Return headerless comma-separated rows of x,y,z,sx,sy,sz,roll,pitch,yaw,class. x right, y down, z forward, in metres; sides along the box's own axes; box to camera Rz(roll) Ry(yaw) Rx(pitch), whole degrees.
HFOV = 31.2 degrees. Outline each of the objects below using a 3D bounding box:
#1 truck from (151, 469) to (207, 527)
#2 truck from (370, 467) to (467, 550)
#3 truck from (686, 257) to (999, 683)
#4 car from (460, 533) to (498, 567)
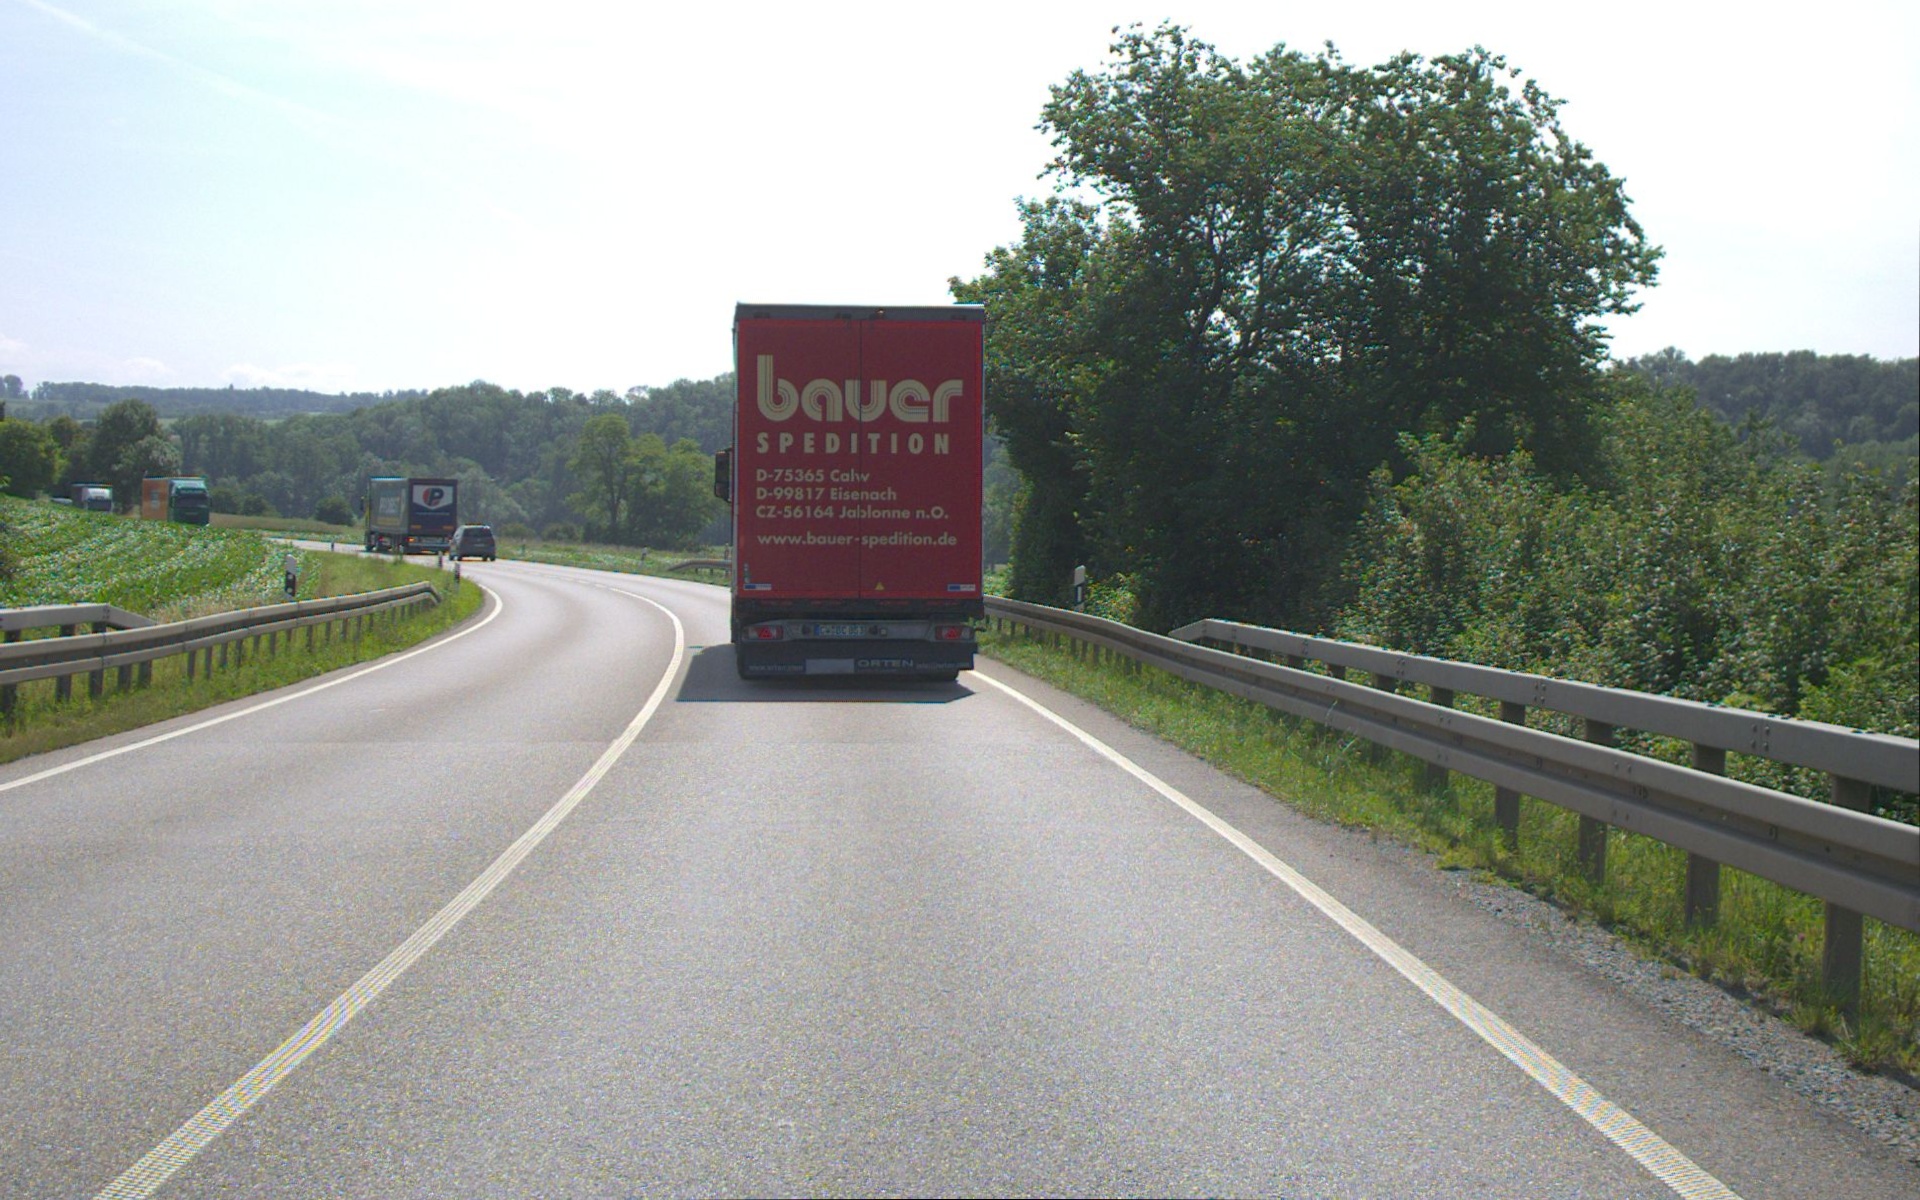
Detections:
-56.194,-7.352,247.063,2.770,3.984,17.034,1,1,-17,truck
-29.196,-4.843,184.777,3.639,4.277,11.989,0,1,-16,truck
-1.255,-1.381,38.645,3.094,4.248,8.315,1,1,-1,truck
-22.615,-2.360,161.842,1.581,1.496,3.877,1,1,-6,car
